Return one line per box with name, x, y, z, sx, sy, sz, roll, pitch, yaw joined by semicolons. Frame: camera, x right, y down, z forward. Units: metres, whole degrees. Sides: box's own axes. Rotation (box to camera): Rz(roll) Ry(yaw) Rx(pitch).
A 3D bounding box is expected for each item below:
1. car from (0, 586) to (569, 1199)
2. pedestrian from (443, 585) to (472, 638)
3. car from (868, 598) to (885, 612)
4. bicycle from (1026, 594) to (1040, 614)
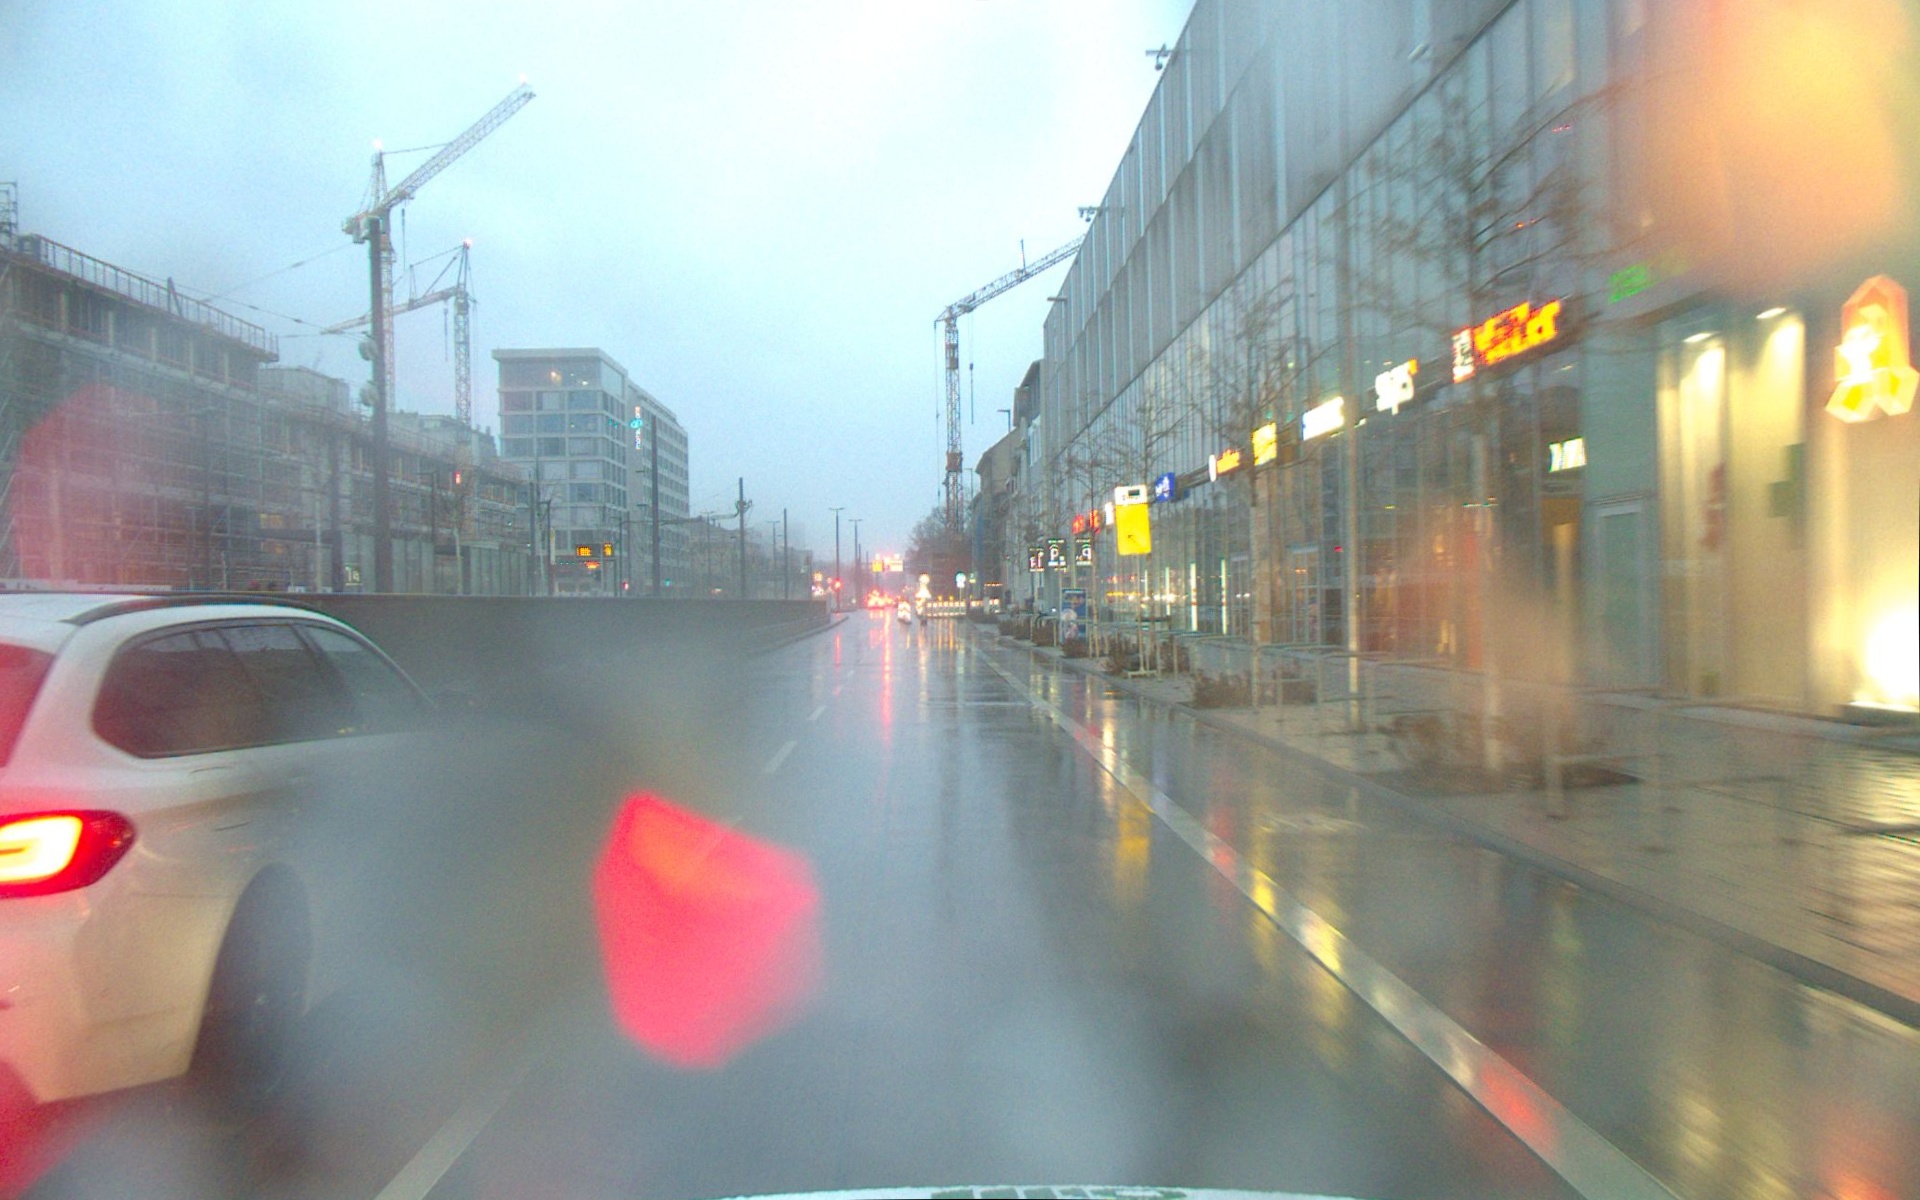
car;-2.850;0.720;5.870;1.814;1.491;4.946;0;0;-1
pedestrian;-14.997;0.346;49.394;0.571;1.577;0.741;0;0;9
car;-9.777;0.596;194.474;1.862;1.670;3.999;0;0;-2
bicycle;4.669;0.267;105.975;0.669;1.243;1.904;-4;0;-3
